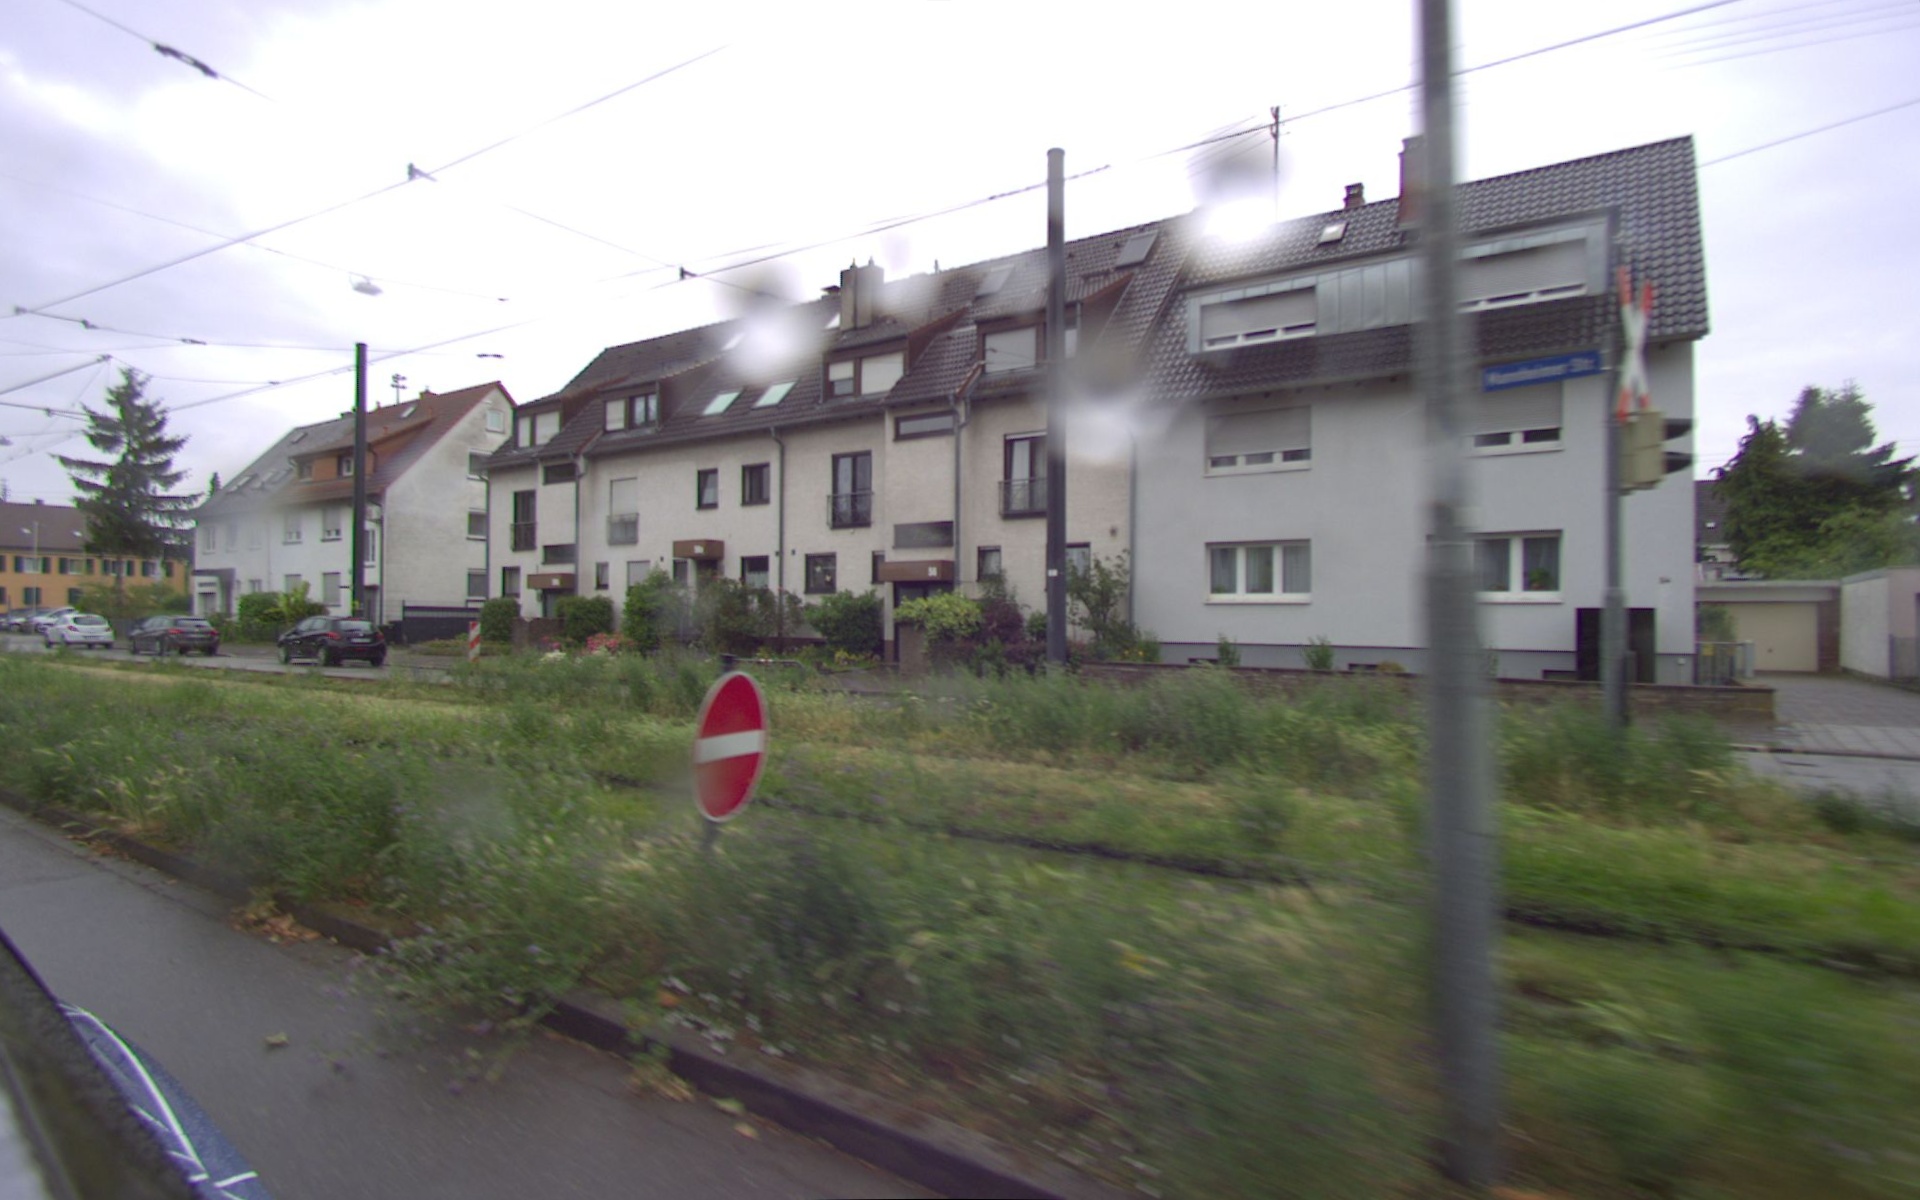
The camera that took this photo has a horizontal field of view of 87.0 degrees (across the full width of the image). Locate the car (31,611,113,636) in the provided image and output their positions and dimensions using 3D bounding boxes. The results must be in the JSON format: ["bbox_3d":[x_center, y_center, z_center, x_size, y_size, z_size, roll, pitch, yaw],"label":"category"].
[{"bbox_3d":[-59.263,1.551,67.555,1.913,1.607,3.944,-1,-1,42],"label":"car"}]

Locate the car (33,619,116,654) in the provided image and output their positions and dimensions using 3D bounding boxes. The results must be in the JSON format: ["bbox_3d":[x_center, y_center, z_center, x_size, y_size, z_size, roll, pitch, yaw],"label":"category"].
[{"bbox_3d":[-38.509,1.556,43.984,3.989,1.451,1.696,0,-2,34],"label":"car"}]

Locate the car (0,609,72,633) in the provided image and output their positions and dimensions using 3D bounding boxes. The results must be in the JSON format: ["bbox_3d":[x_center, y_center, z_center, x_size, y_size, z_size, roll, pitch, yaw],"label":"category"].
[{"bbox_3d":[-62.801,1.408,68.560,3.939,1.607,1.916,0,-1,-43],"label":"car"}]

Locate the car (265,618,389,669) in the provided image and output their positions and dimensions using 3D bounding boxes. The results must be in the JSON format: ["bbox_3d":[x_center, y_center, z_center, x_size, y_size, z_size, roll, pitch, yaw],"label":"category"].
[{"bbox_3d":[-19.042,1.275,30.402,3.928,1.437,1.757,-1,-2,35],"label":"car"}]

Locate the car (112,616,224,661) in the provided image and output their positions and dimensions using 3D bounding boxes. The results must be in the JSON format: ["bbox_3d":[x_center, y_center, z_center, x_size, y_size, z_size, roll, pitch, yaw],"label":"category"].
[{"bbox_3d":[-29.406,1.408,37.535,4.743,1.543,1.871,0,-2,34],"label":"car"}]

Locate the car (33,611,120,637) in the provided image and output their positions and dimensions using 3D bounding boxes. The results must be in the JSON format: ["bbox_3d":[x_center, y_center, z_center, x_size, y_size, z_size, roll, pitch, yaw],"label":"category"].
[{"bbox_3d":[-57.328,1.516,65.728,1.910,1.607,3.951,-1,-1,36],"label":"car"}]

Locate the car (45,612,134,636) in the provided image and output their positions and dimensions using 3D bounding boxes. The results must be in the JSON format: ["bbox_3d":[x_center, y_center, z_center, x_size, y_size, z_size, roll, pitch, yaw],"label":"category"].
[{"bbox_3d":[-55.197,1.501,64.221,1.910,1.475,3.951,-1,-1,36],"label":"car"}]
